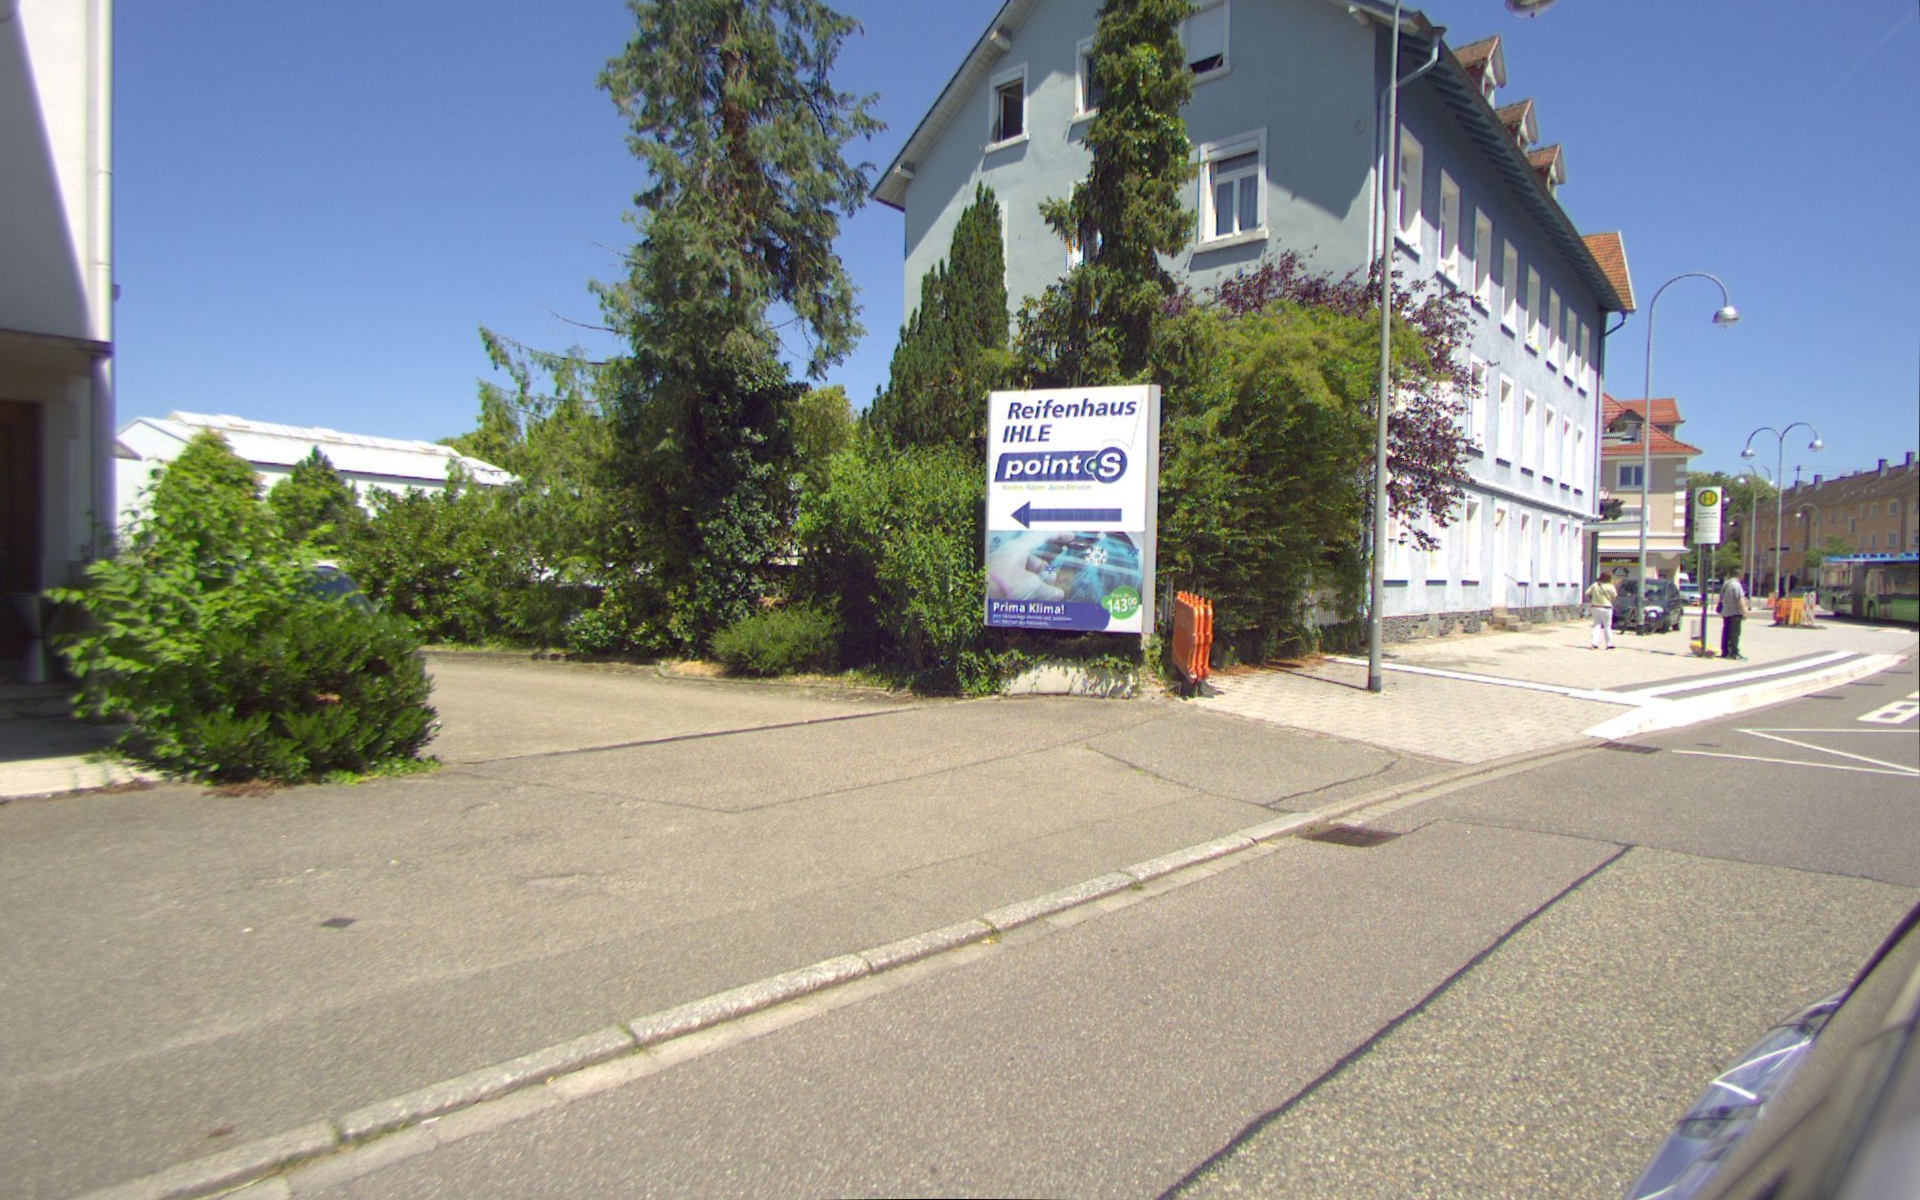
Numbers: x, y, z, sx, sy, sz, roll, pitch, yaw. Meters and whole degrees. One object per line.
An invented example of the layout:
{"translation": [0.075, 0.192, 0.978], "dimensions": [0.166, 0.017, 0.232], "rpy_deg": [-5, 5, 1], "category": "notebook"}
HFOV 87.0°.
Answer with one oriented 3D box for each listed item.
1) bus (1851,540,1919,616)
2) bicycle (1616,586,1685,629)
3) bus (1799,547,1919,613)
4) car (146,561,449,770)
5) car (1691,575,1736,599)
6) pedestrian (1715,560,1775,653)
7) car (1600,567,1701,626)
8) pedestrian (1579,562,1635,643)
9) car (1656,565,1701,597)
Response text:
{"translation": [41.433, -0.894, 42.497], "dimensions": [2.884, 3.119, 12.446], "rpy_deg": [0, 0, 26], "category": "bus"}
{"translation": [18.026, 0.188, 26.418], "dimensions": [1.845, 1.051, 0.635], "rpy_deg": [1, 4, -28], "category": "bicycle"}
{"translation": [47.280, -0.964, 53.267], "dimensions": [2.907, 3.100, 12.424], "rpy_deg": [0, 0, 31], "category": "bus"}
{"translation": [-6.584, 0.502, 9.872], "dimensions": [1.768, 1.612, 3.989], "rpy_deg": [-1, 0, -44], "category": "car"}
{"translation": [50.553, -0.896, 67.982], "dimensions": [1.811, 1.427, 3.961], "rpy_deg": [4, 4, 29], "category": "car"}
{"translation": [16.064, 0.110, 20.725], "dimensions": [0.744, 1.826, 0.610], "rpy_deg": [5, 4, 29], "category": "pedestrian"}
{"translation": [20.345, -0.139, 29.759], "dimensions": [1.760, 1.532, 3.682], "rpy_deg": [7, 5, 44], "category": "car"}
{"translation": [13.478, 0.045, 21.085], "dimensions": [0.735, 1.635, 0.617], "rpy_deg": [1, 3, -30], "category": "pedestrian"}
{"translation": [61.866, -1.653, 87.201], "dimensions": [2.321, 2.486, 5.679], "rpy_deg": [4, 3, 28], "category": "car"}
